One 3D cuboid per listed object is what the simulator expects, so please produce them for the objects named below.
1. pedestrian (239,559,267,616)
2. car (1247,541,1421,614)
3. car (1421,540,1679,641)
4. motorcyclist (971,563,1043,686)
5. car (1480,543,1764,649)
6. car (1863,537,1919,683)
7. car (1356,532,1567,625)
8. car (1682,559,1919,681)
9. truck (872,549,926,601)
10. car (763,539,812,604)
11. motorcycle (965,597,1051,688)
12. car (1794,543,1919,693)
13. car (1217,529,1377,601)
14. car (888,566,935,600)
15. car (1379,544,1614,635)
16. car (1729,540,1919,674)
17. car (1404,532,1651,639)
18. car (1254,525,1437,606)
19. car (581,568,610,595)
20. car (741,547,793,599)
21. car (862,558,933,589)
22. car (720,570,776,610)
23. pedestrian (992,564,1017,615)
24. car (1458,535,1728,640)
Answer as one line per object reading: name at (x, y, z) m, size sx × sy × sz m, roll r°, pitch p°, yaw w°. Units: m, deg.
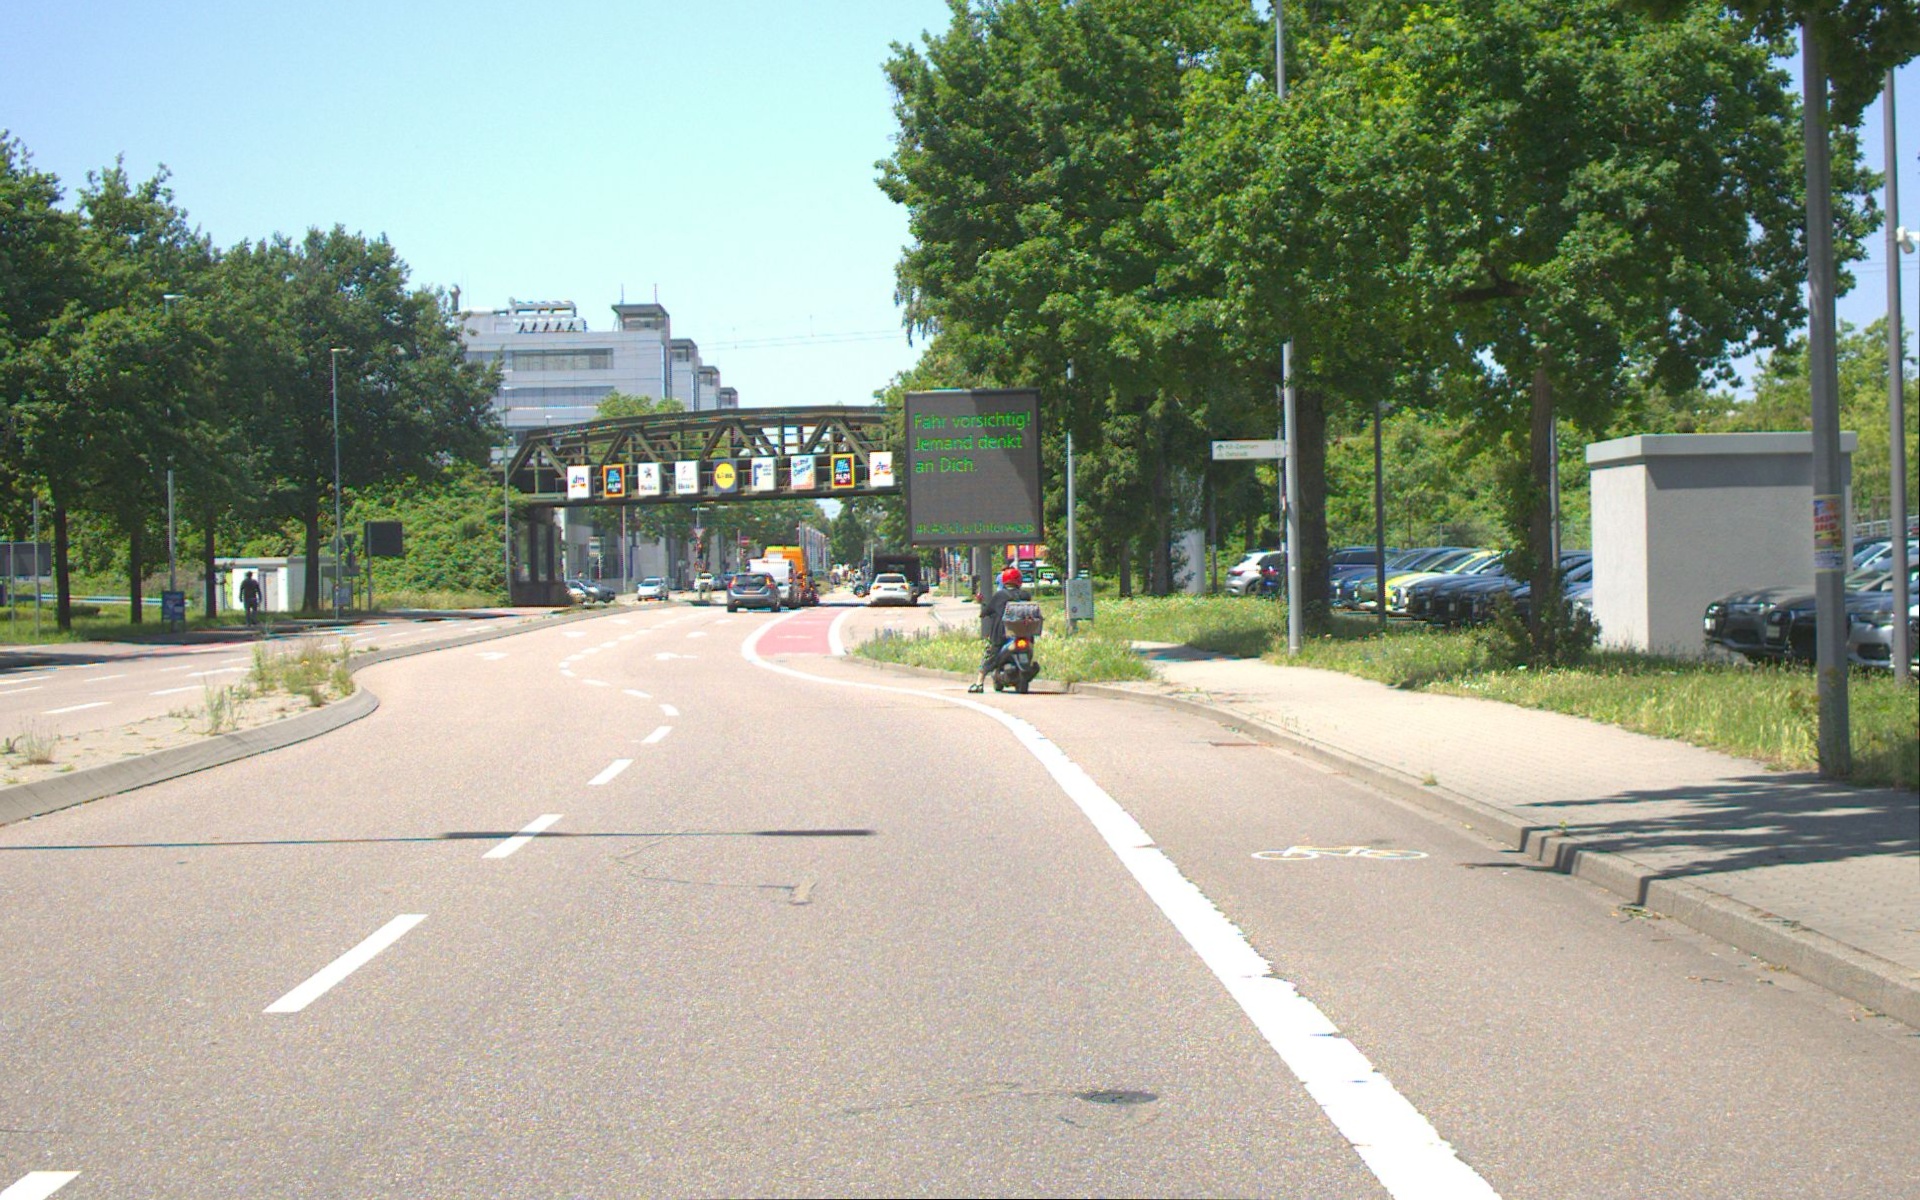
pedestrian at (-23.176, -0.412, 112.703) m, size 0.743 × 1.878 × 0.577 m, roll -1°, pitch 0°, yaw -1°
car at (9.049, -0.544, 83.365) m, size 3.860 × 1.598 × 1.798 m, roll 2°, pitch 0°, yaw -5°
car at (10.226, -0.167, 59.739) m, size 3.986 × 1.435 × 1.798 m, roll 4°, pitch 0°, yaw -5°
motorcyclist at (0.587, 0.307, 43.094) m, size 0.719 × 1.524 × 0.871 m, roll 0°, pitch 0°, yaw -11°
car at (10.468, -0.075, 54.511) m, size 3.986 × 1.372 × 1.798 m, roll 4°, pitch 0°, yaw -5°
car at (10.873, 0.186, 32.254) m, size 4.221 × 1.337 × 1.917 m, roll 3°, pitch 0°, yaw -1°
car at (10.245, -0.444, 70.439) m, size 3.860 × 1.598 × 1.798 m, roll 4°, pitch 0°, yaw -5°
car at (10.688, 0.232, 39.781) m, size 4.221 × 1.337 × 1.917 m, roll 1°, pitch 1°, yaw -1°
truck at (-2.911, -1.207, 162.307) m, size 2.458 × 2.402 × 7.134 m, roll 1°, pitch 1°, yaw -1°
car at (-7.697, -1.285, 153.740) m, size 2.072 × 2.845 × 6.765 m, roll -1°, pitch 1°, yaw -2°
motorcycle at (0.590, 0.525, 43.052) m, size 0.716 × 1.101 × 1.831 m, roll 0°, pitch 0°, yaw -11°
car at (10.855, 0.250, 34.894) m, size 4.221 × 1.447 × 1.917 m, roll 3°, pitch 0°, yaw -1°
car at (8.934, -0.929, 91.377) m, size 3.860 × 1.598 × 1.798 m, roll 4°, pitch 0°, yaw -5°
car at (-2.108, -0.724, 147.579) m, size 1.924 × 1.415 × 4.000 m, roll 0°, pitch 1°, yaw -2°
car at (10.152, -0.213, 65.195) m, size 3.986 × 1.418 × 1.798 m, roll 4°, pitch 0°, yaw -5°
car at (10.711, 0.130, 37.309) m, size 4.221 × 1.337 × 1.917 m, roll 3°, pitch 0°, yaw -1°
car at (10.270, -0.264, 62.402) m, size 3.986 × 1.619 × 1.798 m, roll 4°, pitch 0°, yaw -5°
car at (9.009, -0.805, 80.416) m, size 3.860 × 1.598 × 1.798 m, roll 4°, pitch 0°, yaw -5°
car at (-24.163, -1.220, 227.817) m, size 1.715 × 1.726 × 3.807 m, roll -1°, pitch 1°, yaw -4°
car at (-7.591, -1.059, 135.453) m, size 1.993 × 2.007 × 4.000 m, roll 0°, pitch 1°, yaw -2°
car at (-3.655, -1.579, 202.158) m, size 3.987 × 1.744 × 1.892 m, roll -1°, pitch 1°, yaw 4°
car at (-7.693, -0.387, 124.920) m, size 1.900 × 1.371 × 4.232 m, roll -1°, pitch 1°, yaw -2°
pedestrian at (1.199, -0.283, 92.269) m, size 0.623 × 1.370 × 0.564 m, roll -1°, pitch 1°, yaw -3°
car at (10.520, -0.208, 57.299) m, size 3.986 × 1.435 × 1.798 m, roll 4°, pitch 0°, yaw -5°
